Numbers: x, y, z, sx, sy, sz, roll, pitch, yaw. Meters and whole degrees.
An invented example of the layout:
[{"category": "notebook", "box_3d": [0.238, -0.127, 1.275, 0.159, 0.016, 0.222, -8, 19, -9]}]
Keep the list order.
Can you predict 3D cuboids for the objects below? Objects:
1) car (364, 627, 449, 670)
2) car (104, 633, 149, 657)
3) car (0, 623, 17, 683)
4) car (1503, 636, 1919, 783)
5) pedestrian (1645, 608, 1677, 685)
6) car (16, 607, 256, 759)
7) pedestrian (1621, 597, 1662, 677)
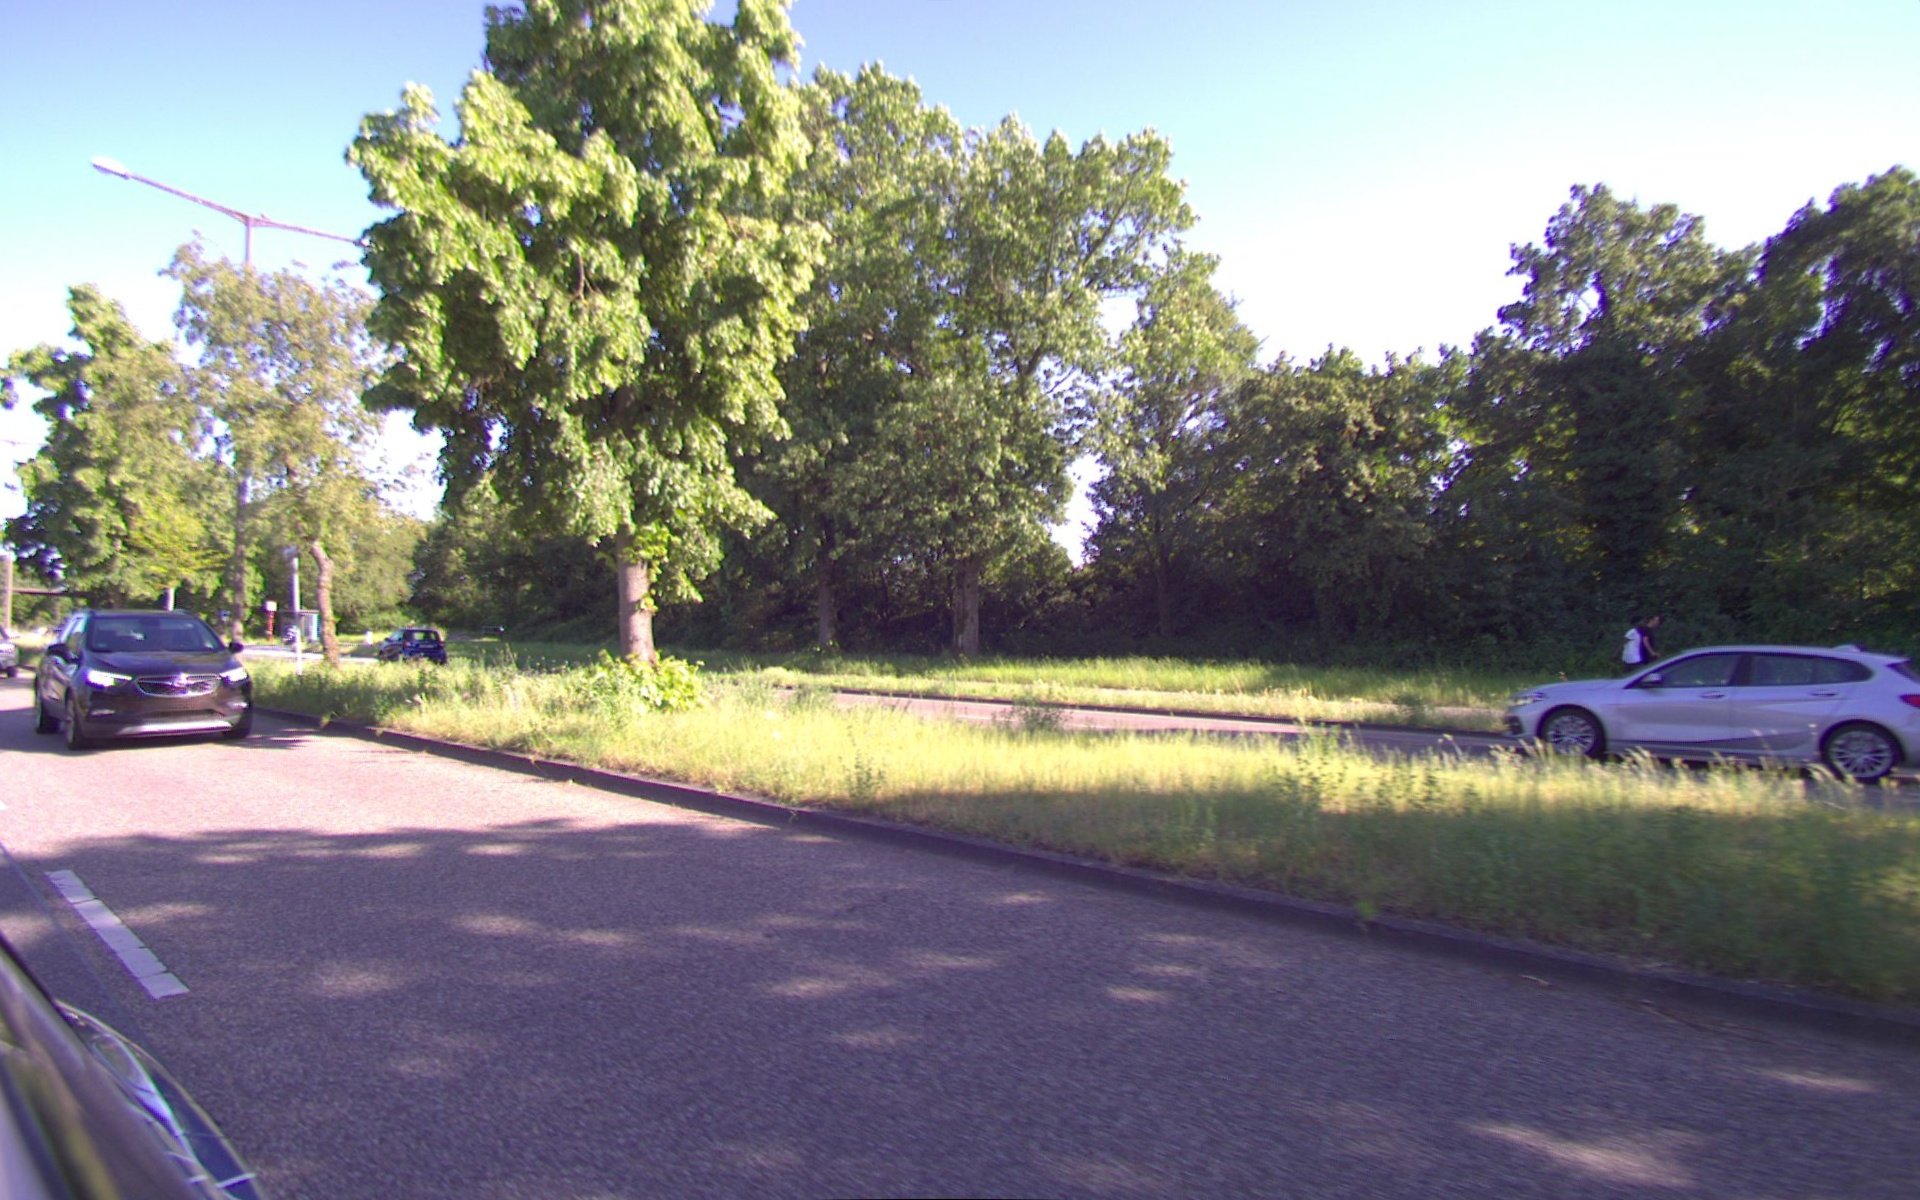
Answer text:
[{"category": "car", "box_3d": [-21.807, 1.898, 39.828, 3.745, 1.590, 1.710, -2, -5, 41]}, {"category": "car", "box_3d": [-56.594, 3.050, 68.720, 3.745, 1.590, 1.710, -2, -5, 41]}, {"category": "car", "box_3d": [-27.965, 1.448, 28.400, 4.104, 1.622, 1.765, -1, -2, 41]}, {"category": "car", "box_3d": [8.986, 1.188, 11.873, 4.343, 1.468, 1.708, -2, -5, 41]}, {"category": "pedestrian", "box_3d": [15.521, 1.010, 22.403, 0.539, 1.672, 0.554, -1, 0, 36]}, {"category": "car", "box_3d": [-10.761, 0.960, 13.099, 4.416, 1.644, 1.678, -1, -3, 41]}, {"category": "pedestrian", "box_3d": [14.553, 0.773, 21.610, 0.678, 1.672, 0.675, -1, 0, 36]}]
